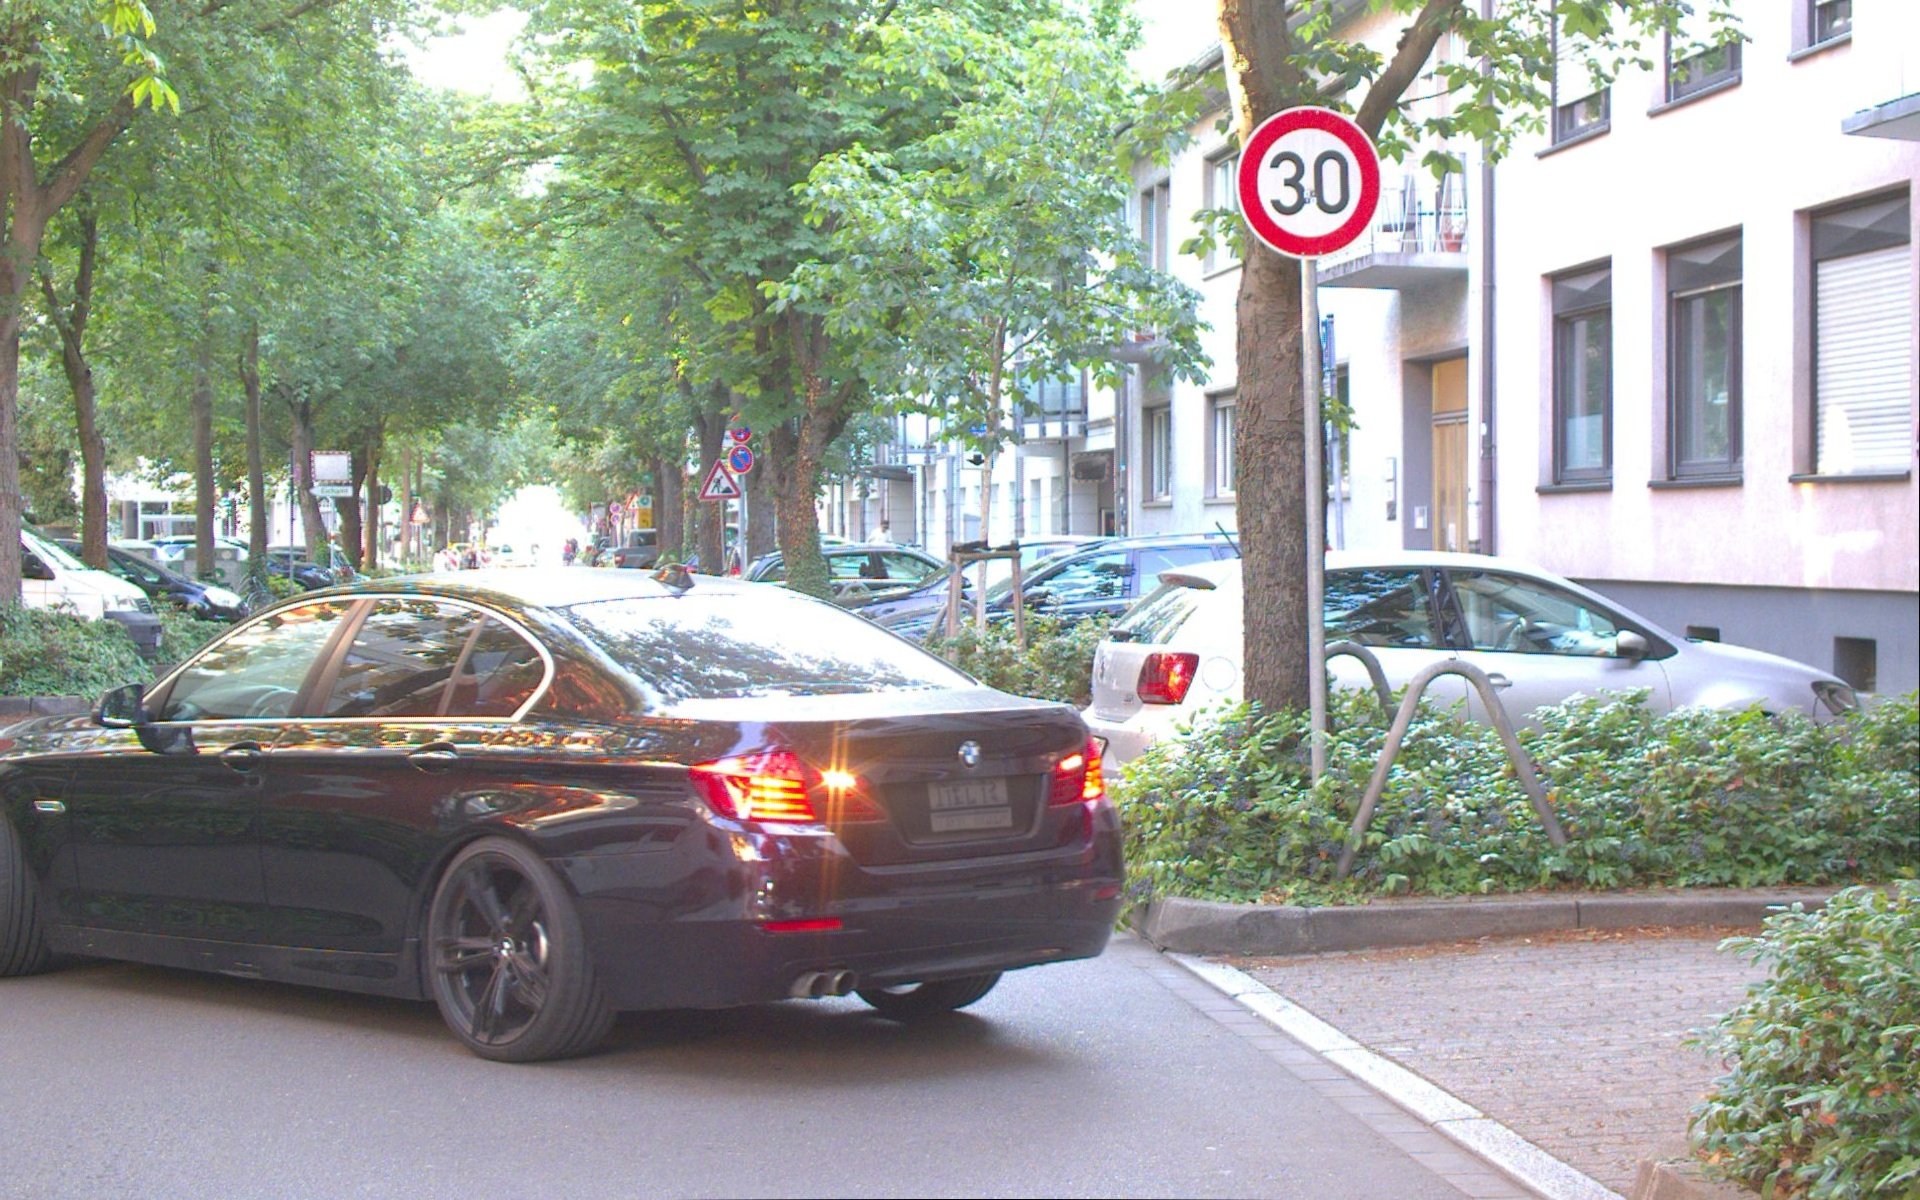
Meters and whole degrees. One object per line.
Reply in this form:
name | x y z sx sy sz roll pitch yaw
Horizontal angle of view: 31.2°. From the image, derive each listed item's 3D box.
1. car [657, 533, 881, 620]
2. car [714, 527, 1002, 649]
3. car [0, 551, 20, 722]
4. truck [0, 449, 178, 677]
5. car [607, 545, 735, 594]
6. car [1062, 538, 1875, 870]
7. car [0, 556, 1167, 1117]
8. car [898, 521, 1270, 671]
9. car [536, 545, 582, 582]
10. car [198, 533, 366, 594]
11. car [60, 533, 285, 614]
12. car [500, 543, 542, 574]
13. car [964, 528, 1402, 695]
car | -3.265 -0.409 58.586 3.656 1.388 1.566 -1 1 -8
car | -1.383 -0.175 45.858 3.656 1.531 1.566 -1 1 -8
car | -10.347 0.293 29.622 4.131 1.466 1.640 1 1 -7
truck | -11.290 -0.454 37.858 4.998 2.432 1.916 1 2 -5
car | -8.564 -0.912 101.824 3.656 1.388 1.566 -1 1 -8
car | 2.452 0.464 16.981 3.656 1.474 1.566 -1 1 -8
car | -1.668 0.596 11.325 4.665 1.445 1.763 1 2 44
car | 1.323 -0.068 37.388 3.791 1.524 1.566 -1 1 -8
car | -17.473 -1.589 149.736 1.993 1.546 4.001 0 1 -7
car | -16.994 -0.919 86.316 4.020 1.466 1.640 1 1 -7
car | -14.971 -0.517 65.503 4.020 1.466 1.640 1 1 -7
car | -20.978 -1.994 164.288 1.894 1.470 4.001 0 1 -6
car | 1.970 0.081 30.852 3.656 1.388 1.566 -1 1 -8
